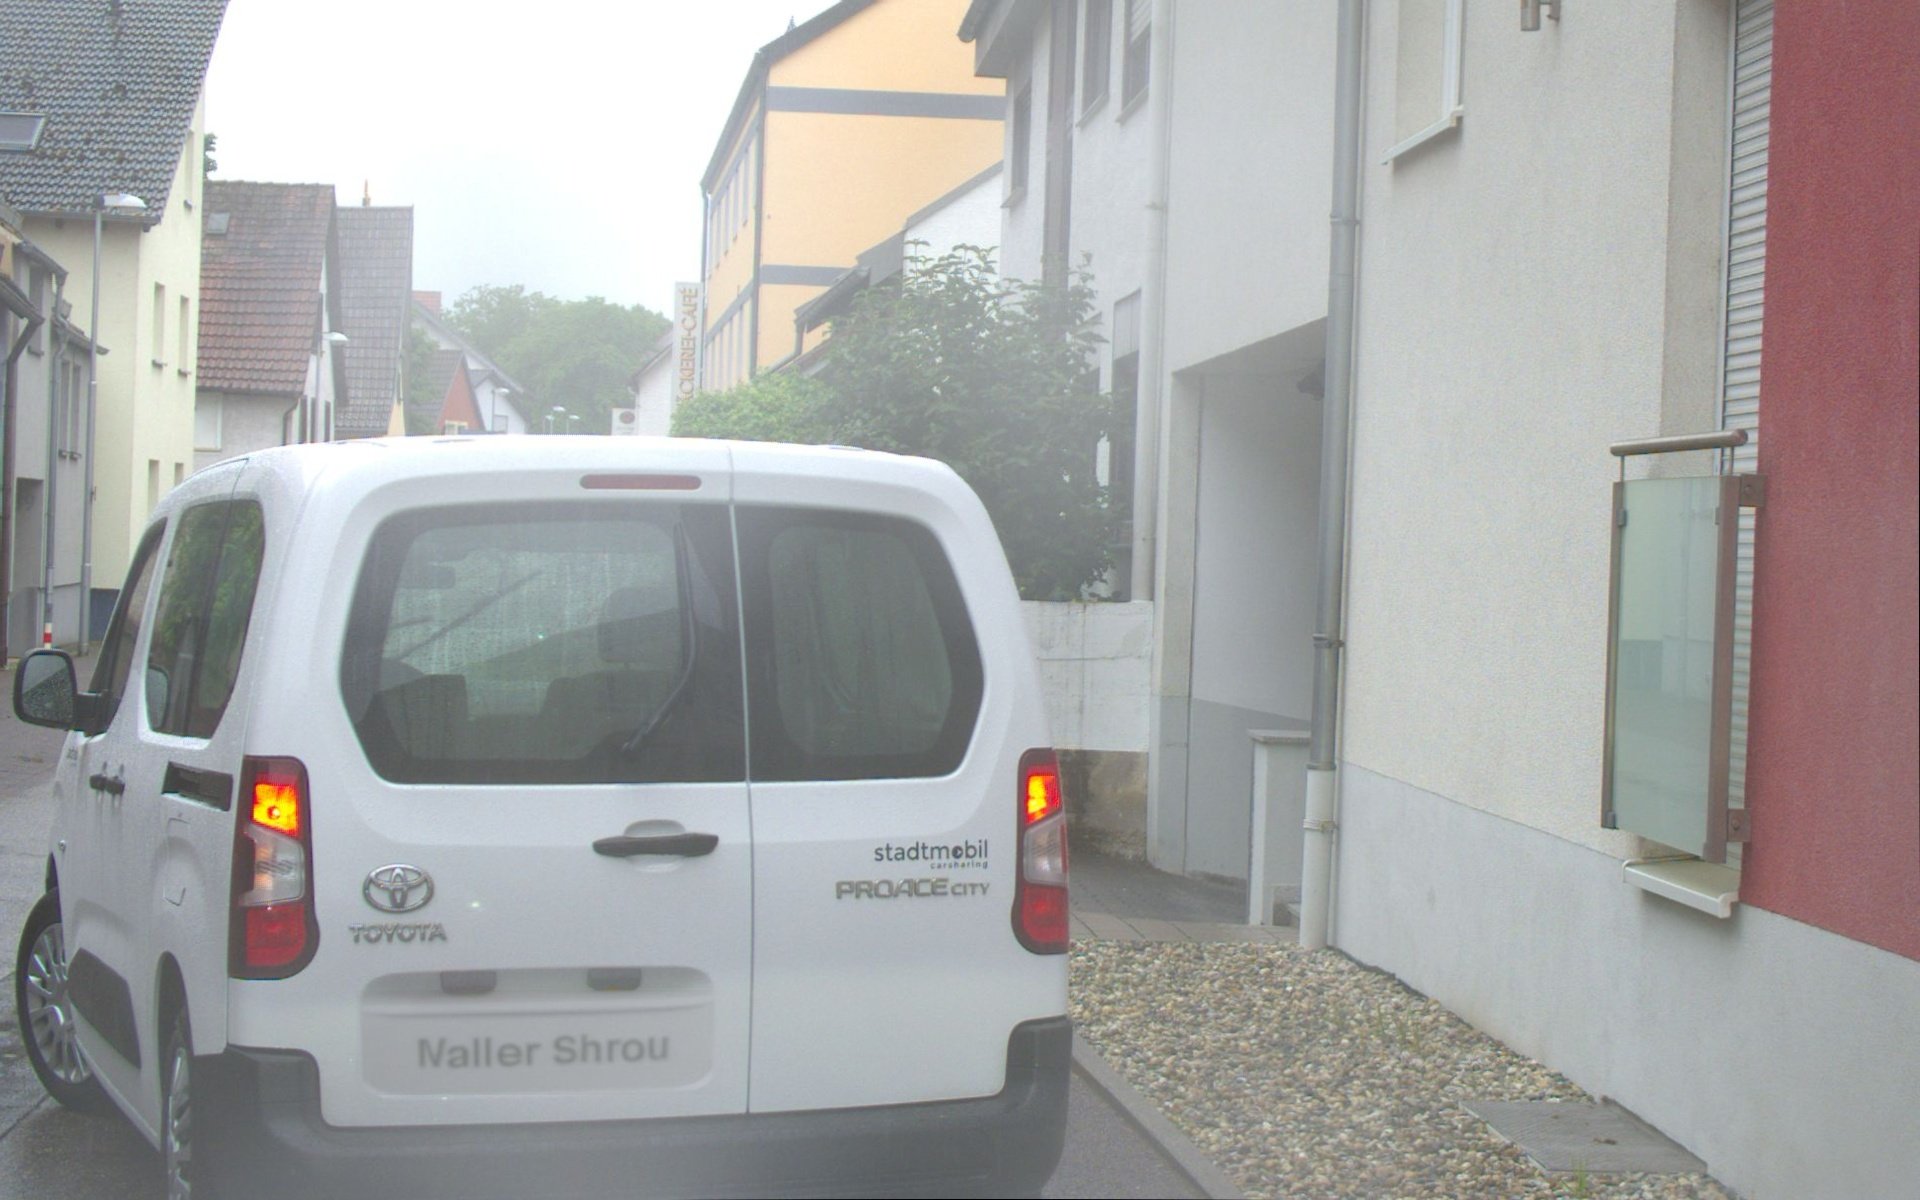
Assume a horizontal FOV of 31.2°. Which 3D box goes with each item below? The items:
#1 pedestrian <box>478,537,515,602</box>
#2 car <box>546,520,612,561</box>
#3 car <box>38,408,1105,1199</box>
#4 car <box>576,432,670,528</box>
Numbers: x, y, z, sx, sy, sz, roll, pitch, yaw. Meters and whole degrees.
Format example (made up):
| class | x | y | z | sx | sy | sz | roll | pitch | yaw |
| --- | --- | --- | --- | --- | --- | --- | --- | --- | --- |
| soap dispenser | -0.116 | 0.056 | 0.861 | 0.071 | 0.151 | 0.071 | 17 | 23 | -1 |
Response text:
| class | x | y | z | sx | sy | sz | roll | pitch | yaw |
| --- | --- | --- | --- | --- | --- | --- | --- | --- | --- |
| pedestrian | -13.671 | -0.902 | 101.358 | 1.050 | 1.886 | 0.877 | 1 | 0 | -8 |
| car | -15.616 | -2.458 | 141.047 | 1.994 | 1.554 | 3.431 | -1 | 3 | 6 |
| car | -1.188 | 0.530 | 8.266 | 1.774 | 1.774 | 4.001 | 1 | 1 | -18 |
| car | -7.462 | -2.643 | 76.320 | 1.993 | 2.007 | 4.001 | 1 | 0 | -5 |
